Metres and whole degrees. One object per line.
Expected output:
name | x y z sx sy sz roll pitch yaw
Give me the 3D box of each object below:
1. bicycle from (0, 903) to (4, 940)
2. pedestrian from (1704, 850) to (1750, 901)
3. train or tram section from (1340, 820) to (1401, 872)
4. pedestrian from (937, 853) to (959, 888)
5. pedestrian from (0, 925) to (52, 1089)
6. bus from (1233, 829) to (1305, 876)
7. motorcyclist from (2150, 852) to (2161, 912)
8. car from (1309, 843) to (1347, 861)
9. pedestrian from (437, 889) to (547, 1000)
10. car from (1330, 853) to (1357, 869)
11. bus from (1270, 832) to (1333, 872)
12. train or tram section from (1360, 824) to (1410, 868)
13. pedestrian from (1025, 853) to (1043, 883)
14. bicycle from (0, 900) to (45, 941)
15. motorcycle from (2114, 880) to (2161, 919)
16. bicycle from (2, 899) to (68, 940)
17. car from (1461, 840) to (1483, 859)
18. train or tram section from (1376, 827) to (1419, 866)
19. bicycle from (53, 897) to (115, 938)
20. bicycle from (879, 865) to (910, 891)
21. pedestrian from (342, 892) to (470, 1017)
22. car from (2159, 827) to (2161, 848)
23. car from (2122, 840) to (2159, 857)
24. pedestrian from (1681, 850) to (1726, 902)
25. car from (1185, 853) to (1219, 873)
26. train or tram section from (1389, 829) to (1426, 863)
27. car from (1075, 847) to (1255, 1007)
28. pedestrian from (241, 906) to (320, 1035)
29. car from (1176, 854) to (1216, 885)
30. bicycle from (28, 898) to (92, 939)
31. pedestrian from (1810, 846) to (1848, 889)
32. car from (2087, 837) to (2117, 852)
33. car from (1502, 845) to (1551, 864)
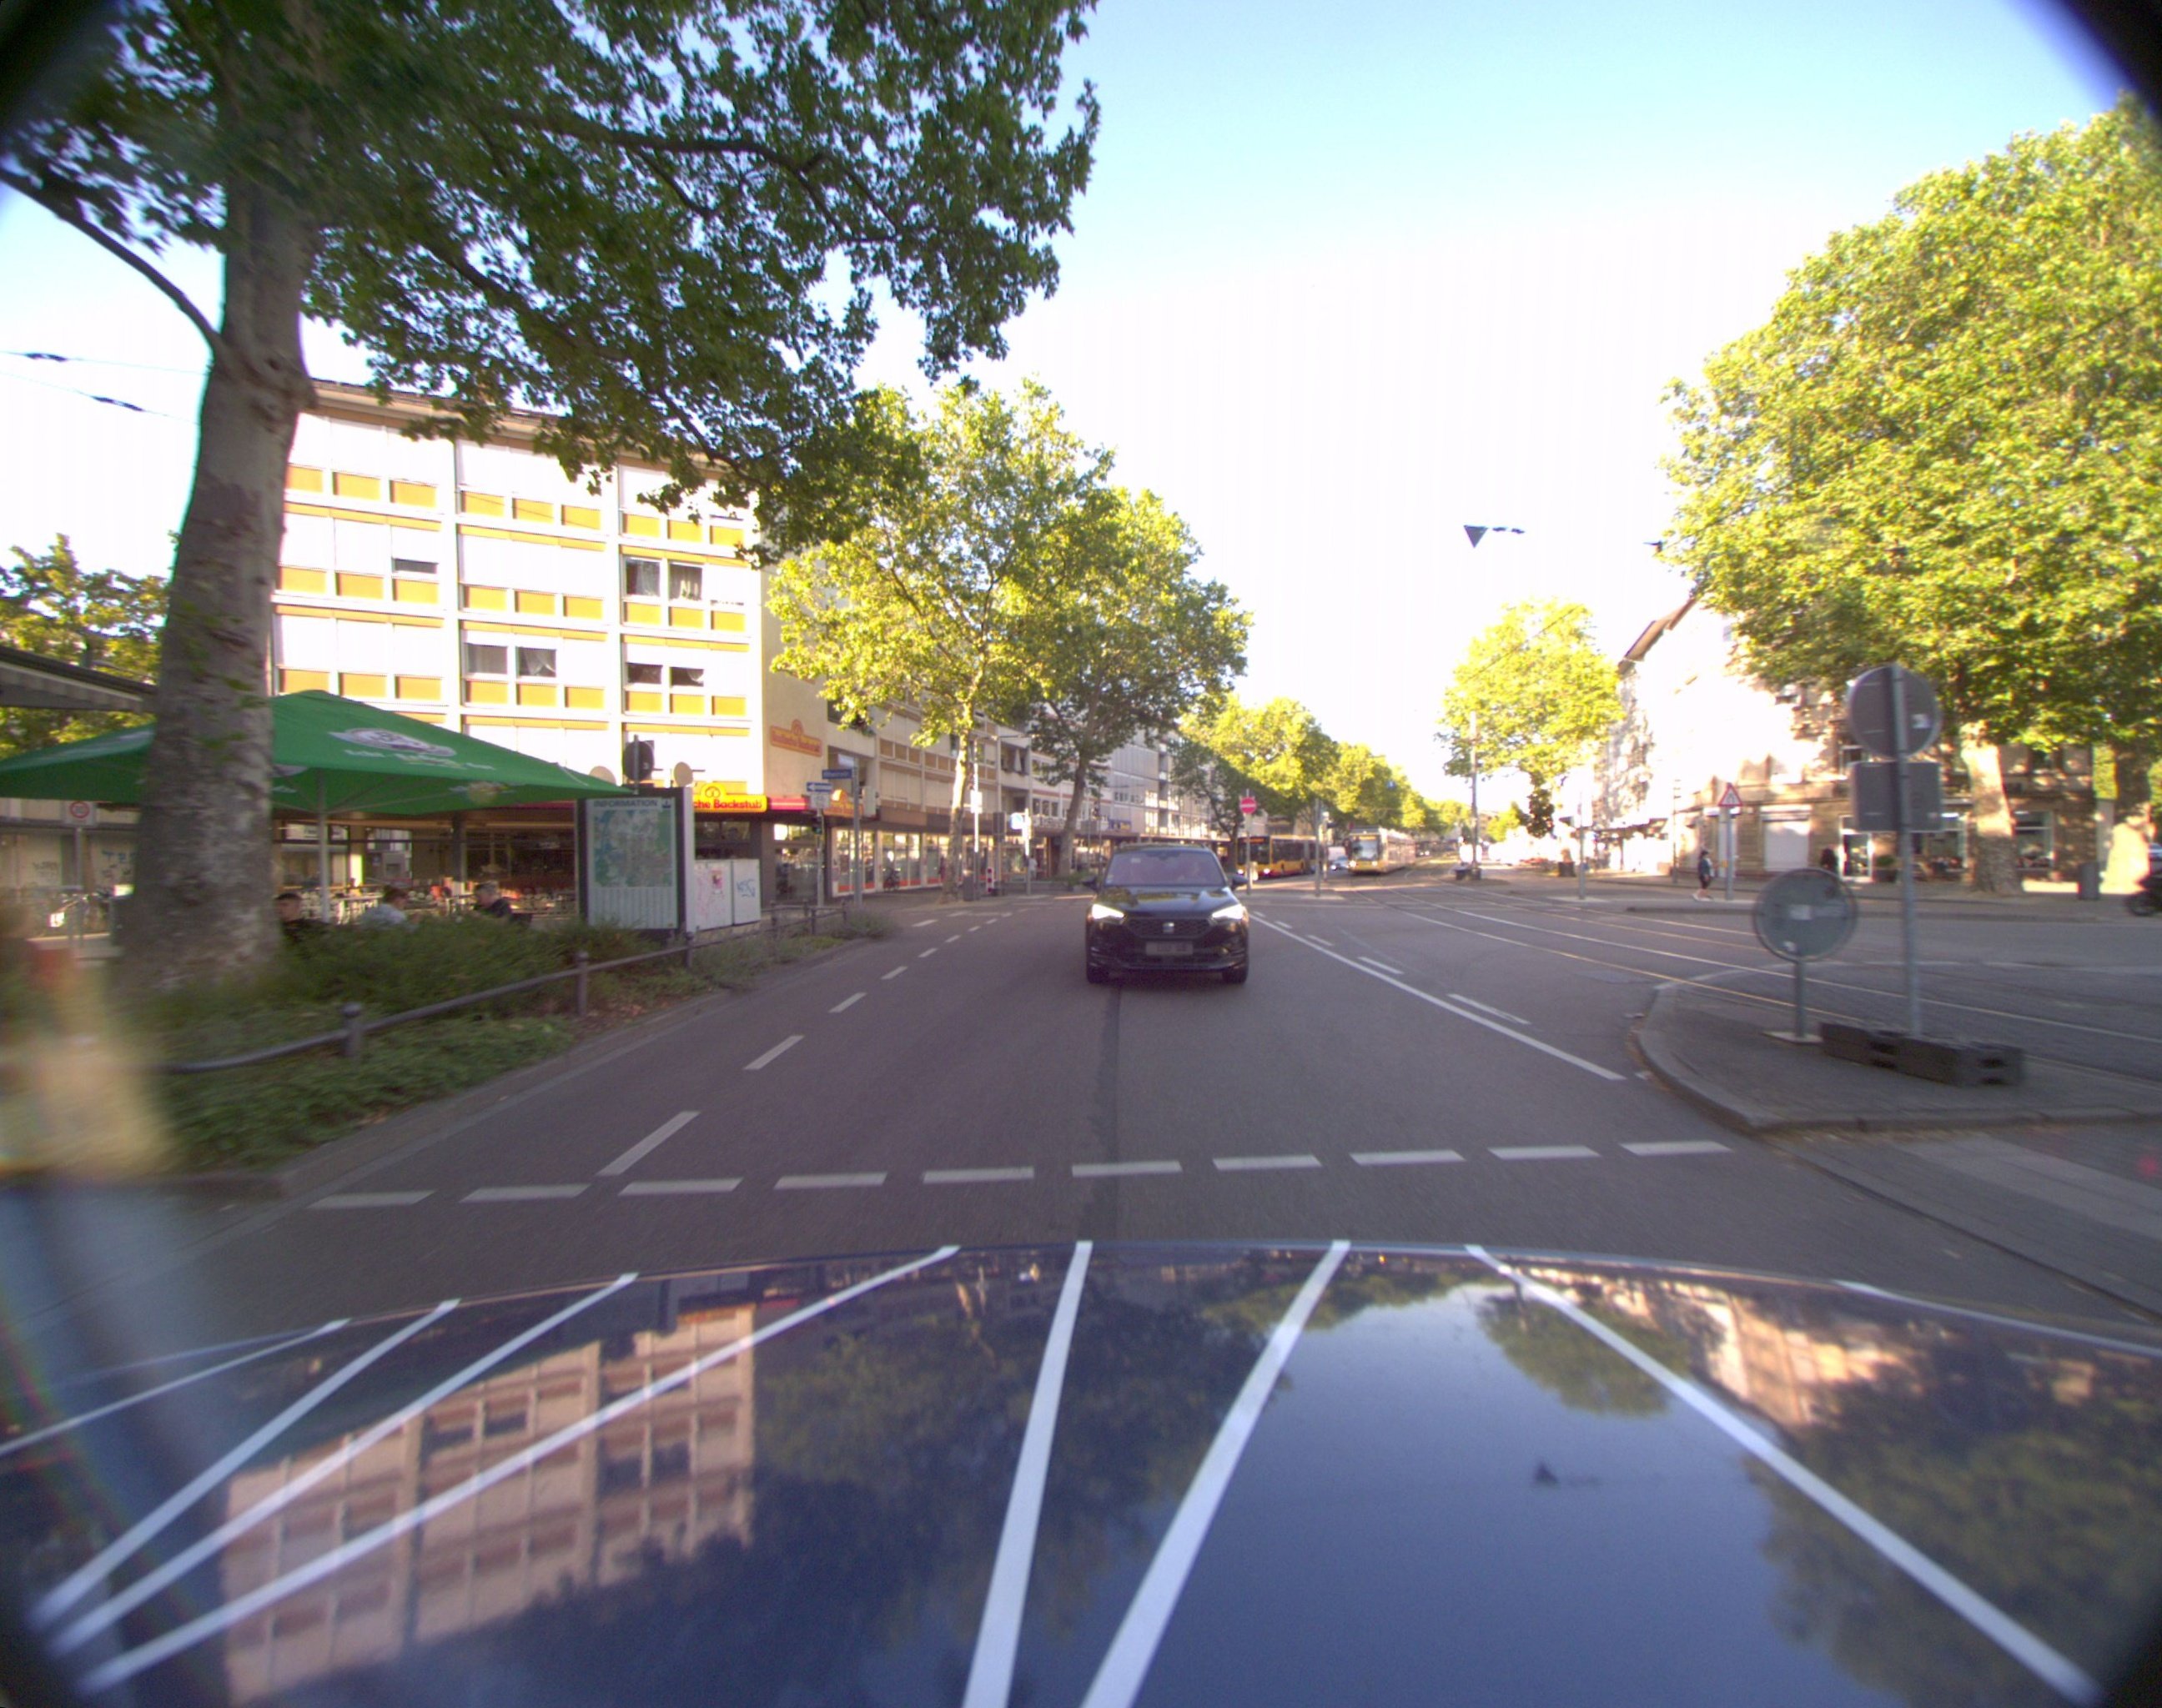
bicycle | -29.232 1.843 19.975 0.389 0.995 1.426 -1 0 -25
pedestrian | 19.446 0.630 22.877 0.798 1.500 0.800 -1 0 -26
train or tram section | 21.449 -0.574 55.870 2.818 3.467 10.357 -1 0 28
pedestrian | -6.686 0.831 38.233 0.749 1.747 0.903 -1 0 15
pedestrian | -8.436 1.187 5.891 0.431 1.212 0.469 -1 0 44
bus | 13.689 -0.096 54.570 2.748 3.085 9.514 0 0 28
motorcyclist | 23.697 0.596 16.113 0.682 1.307 0.984 -1 0 -2
car | 35.280 -0.296 108.461 4.869 2.362 1.878 -1 1 -13
pedestrian | -7.273 1.091 9.405 0.718 1.278 0.769 -1 0 10
car | 26.968 0.710 77.976 1.908 1.467 4.426 0 1 30
bus | 18.360 -0.159 62.780 2.747 3.085 9.515 0 0 30
train or tram section | 26.209 -0.652 65.122 2.837 3.467 10.357 -1 0 28
pedestrian | -2.738 0.809 44.349 0.749 1.747 0.903 -1 0 15
bicycle | -28.577 1.759 20.296 0.389 0.995 1.426 -1 0 -25
motorcycle | 23.702 0.995 16.171 0.682 0.803 1.995 -1 0 -2
bicycle | -28.166 1.750 20.483 0.389 0.995 1.426 -1 0 -25
car | 44.975 -0.544 87.496 2.162 2.110 4.987 1 0 27
train or tram section | 31.054 -0.711 74.254 2.873 3.467 10.357 -1 0 28
bicycle | -27.362 1.732 20.878 0.389 0.995 1.426 -1 0 -25
bicycle | -8.622 1.116 35.215 0.528 1.136 1.976 -1 0 13
pedestrian | -7.496 1.086 8.469 0.718 1.278 0.769 -1 0 11
car | 108.423 -1.658 75.122 4.008 2.131 1.846 -1 0 -38
car | 94.782 -0.485 68.020 4.008 1.485 1.723 -1 0 -38
pedestrian | 18.580 0.651 22.671 0.799 1.500 0.800 -1 0 -31
car | 9.606 0.705 60.244 1.649 1.463 3.715 -1 -1 25
train or tram section | 35.922 -0.816 83.363 2.837 3.467 10.357 -1 0 28
car | 0.958 0.763 10.039 1.848 1.648 4.299 -1 0 2
pedestrian | -8.061 1.151 7.664 0.433 1.212 0.467 1 0 -32
car | 5.720 0.736 37.527 1.650 1.463 3.712 -1 -1 12
bicycle | -27.767 1.737 20.691 0.389 0.995 1.426 -1 0 -25
pedestrian | 30.634 0.538 31.126 0.797 1.745 0.802 -1 0 -2
car | 105.116 -0.933 78.223 4.008 1.485 1.723 -1 0 -38
car | 48.500 0.078 82.738 4.652 1.965 1.901 -1 0 -14
